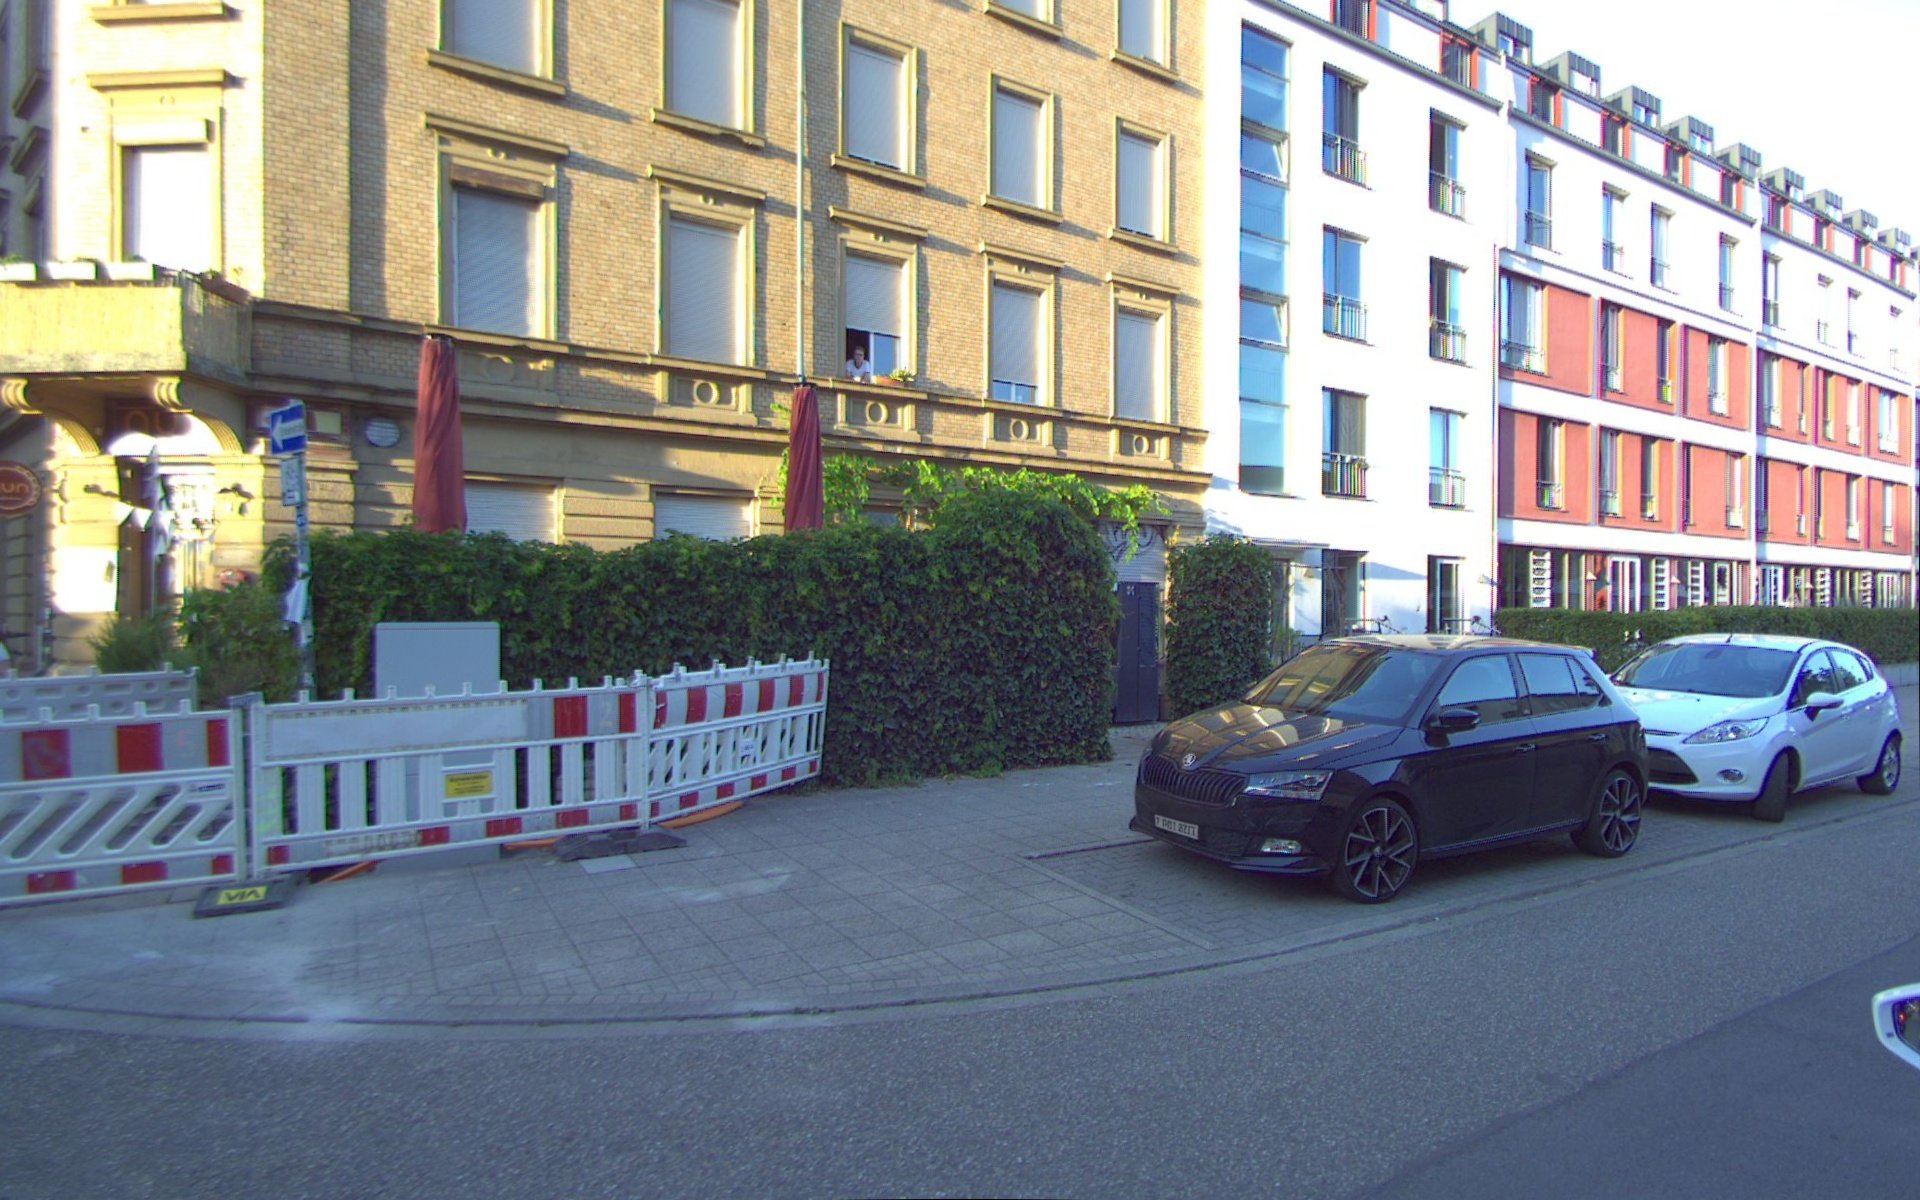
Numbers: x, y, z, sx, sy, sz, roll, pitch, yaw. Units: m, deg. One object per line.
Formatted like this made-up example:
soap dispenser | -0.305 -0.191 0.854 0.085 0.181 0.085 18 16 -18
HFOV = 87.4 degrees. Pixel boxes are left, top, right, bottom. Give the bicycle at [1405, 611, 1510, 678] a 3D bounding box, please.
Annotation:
bicycle | 9.467 0.819 19.167 0.602 1.163 1.768 1 1 -27

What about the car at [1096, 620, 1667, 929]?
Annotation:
car | 2.955 0.936 6.887 3.799 1.555 1.695 1 0 -31

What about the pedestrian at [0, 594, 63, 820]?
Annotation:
pedestrian | -7.357 0.778 7.453 0.698 1.640 0.786 1 1 -3

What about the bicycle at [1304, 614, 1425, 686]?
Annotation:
bicycle | 7.183 0.862 17.939 0.802 1.157 1.907 1 1 -29

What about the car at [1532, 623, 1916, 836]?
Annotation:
car | 7.198 1.017 9.360 3.975 1.551 1.641 1 0 -34

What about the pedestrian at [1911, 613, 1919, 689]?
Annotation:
pedestrian | 19.702 1.033 20.046 0.788 1.521 0.828 1 1 -30
